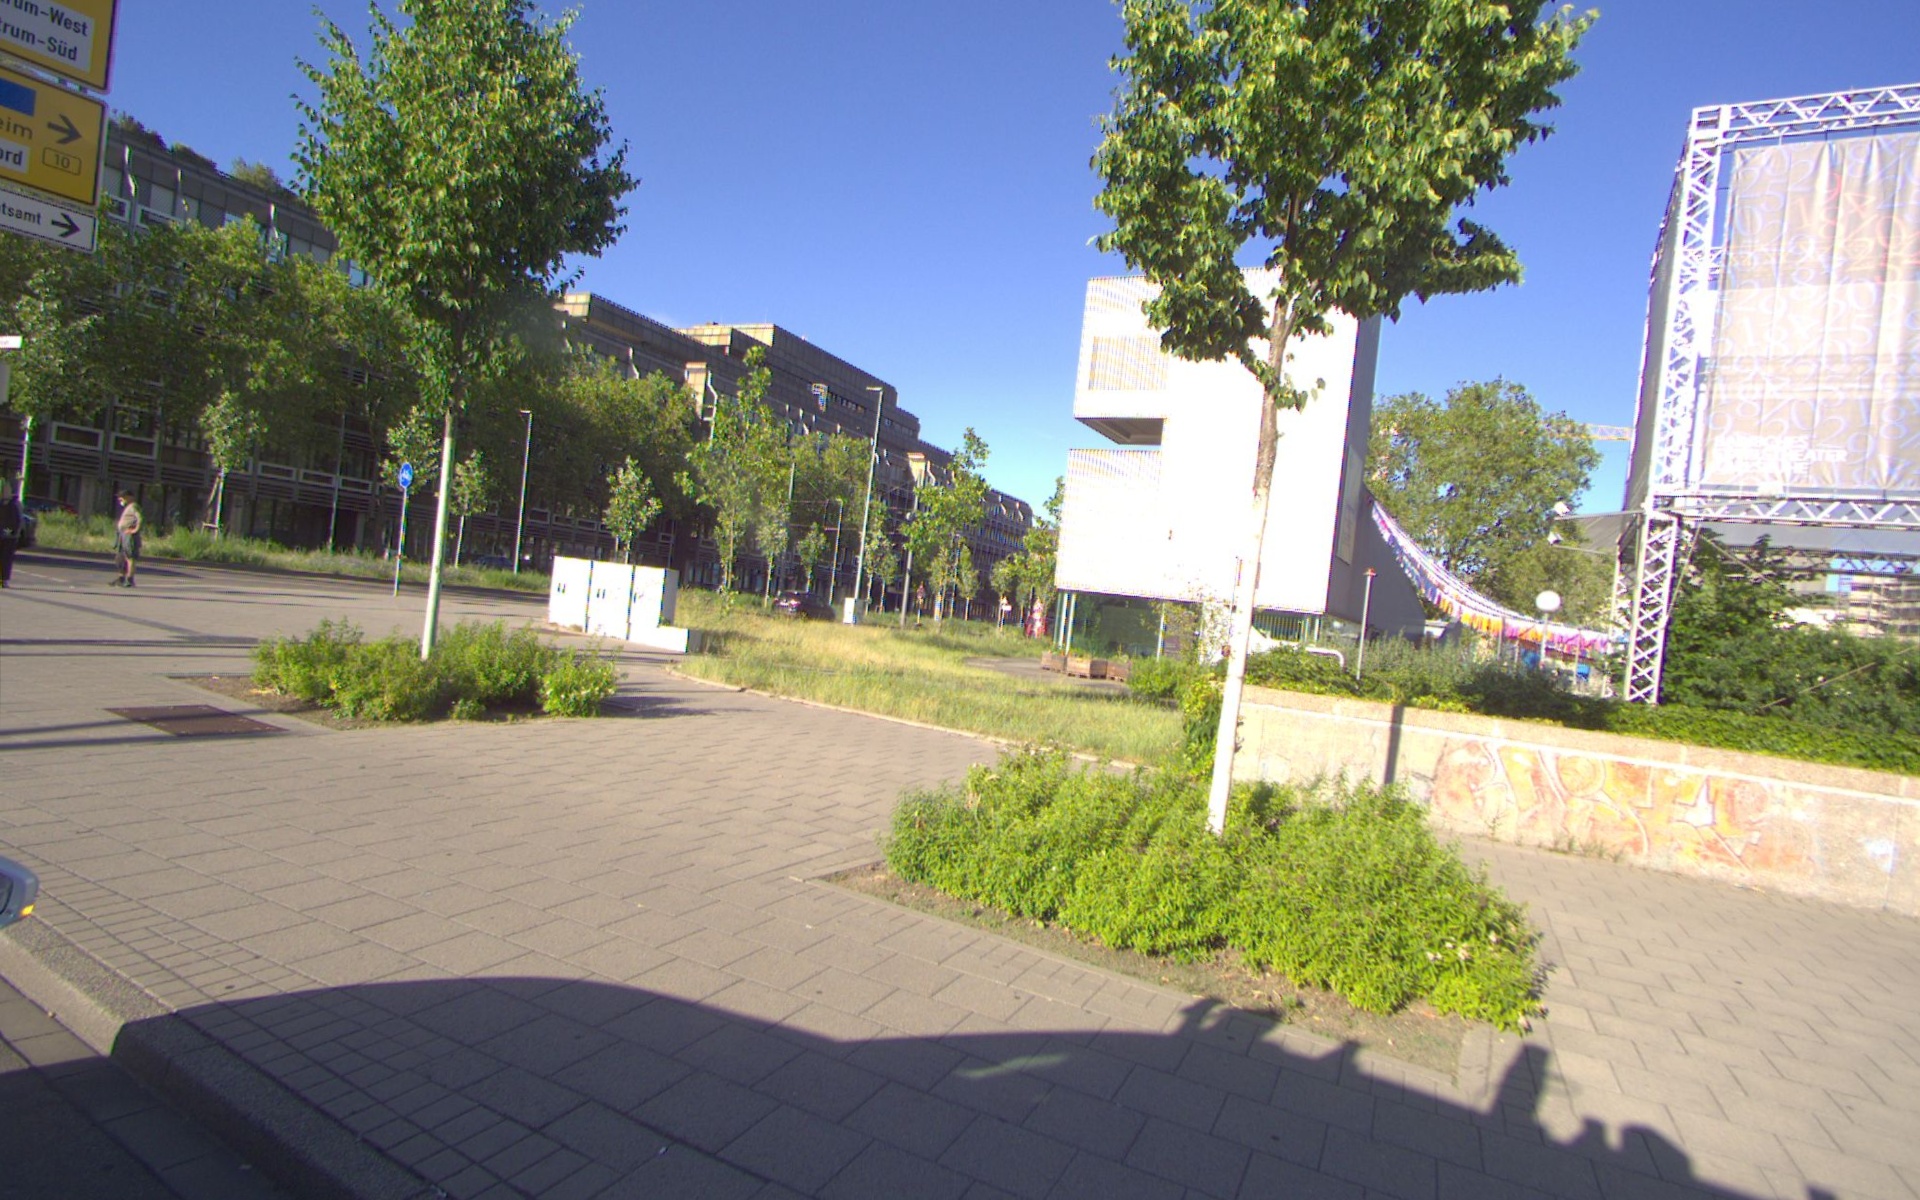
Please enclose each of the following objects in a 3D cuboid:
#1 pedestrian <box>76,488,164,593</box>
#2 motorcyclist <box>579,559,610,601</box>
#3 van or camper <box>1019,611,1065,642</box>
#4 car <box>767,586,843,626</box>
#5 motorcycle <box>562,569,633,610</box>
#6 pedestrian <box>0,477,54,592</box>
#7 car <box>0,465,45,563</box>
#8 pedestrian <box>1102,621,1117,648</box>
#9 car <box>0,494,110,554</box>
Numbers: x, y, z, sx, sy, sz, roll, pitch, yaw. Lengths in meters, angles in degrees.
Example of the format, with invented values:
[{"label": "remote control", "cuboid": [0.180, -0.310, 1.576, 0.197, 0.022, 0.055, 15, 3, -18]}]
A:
[{"label": "pedestrian", "cuboid": [-14.985, -1.056, 17.948, 0.755, 1.728, 0.873, 7, 1, 30]}, {"label": "motorcyclist", "cuboid": [-13.266, -0.723, 36.539, 0.636, 1.441, 0.658, 8, 1, 24]}, {"label": "van or camper", "cuboid": [6.463, 2.126, 78.882, 1.970, 2.038, 4.841, 7, -1, 23]}, {"label": "car", "cuboid": [-7.446, 0.316, 48.674, 1.642, 1.528, 3.871, 7, -1, 25]}, {"label": "motorcycle", "cuboid": [-13.230, -0.376, 36.770, 0.716, 1.223, 2.602, 8, 0, 24]}, {"label": "pedestrian", "cuboid": [-14.230, -0.997, 14.970, 0.859, 1.634, 0.767, 7, 1, 30]}, {"label": "car", "cuboid": [-20.649, -1.942, 18.792, 1.851, 1.886, 4.832, 7, -1, 21]}, {"label": "pedestrian", "cuboid": [9.112, 2.092, 61.165, 0.520, 1.571, 0.638, 7, -1, 31]}, {"label": "car", "cuboid": [-33.198, -2.779, 35.641, 1.792, 1.704, 4.302, 7, -1, 21]}]
